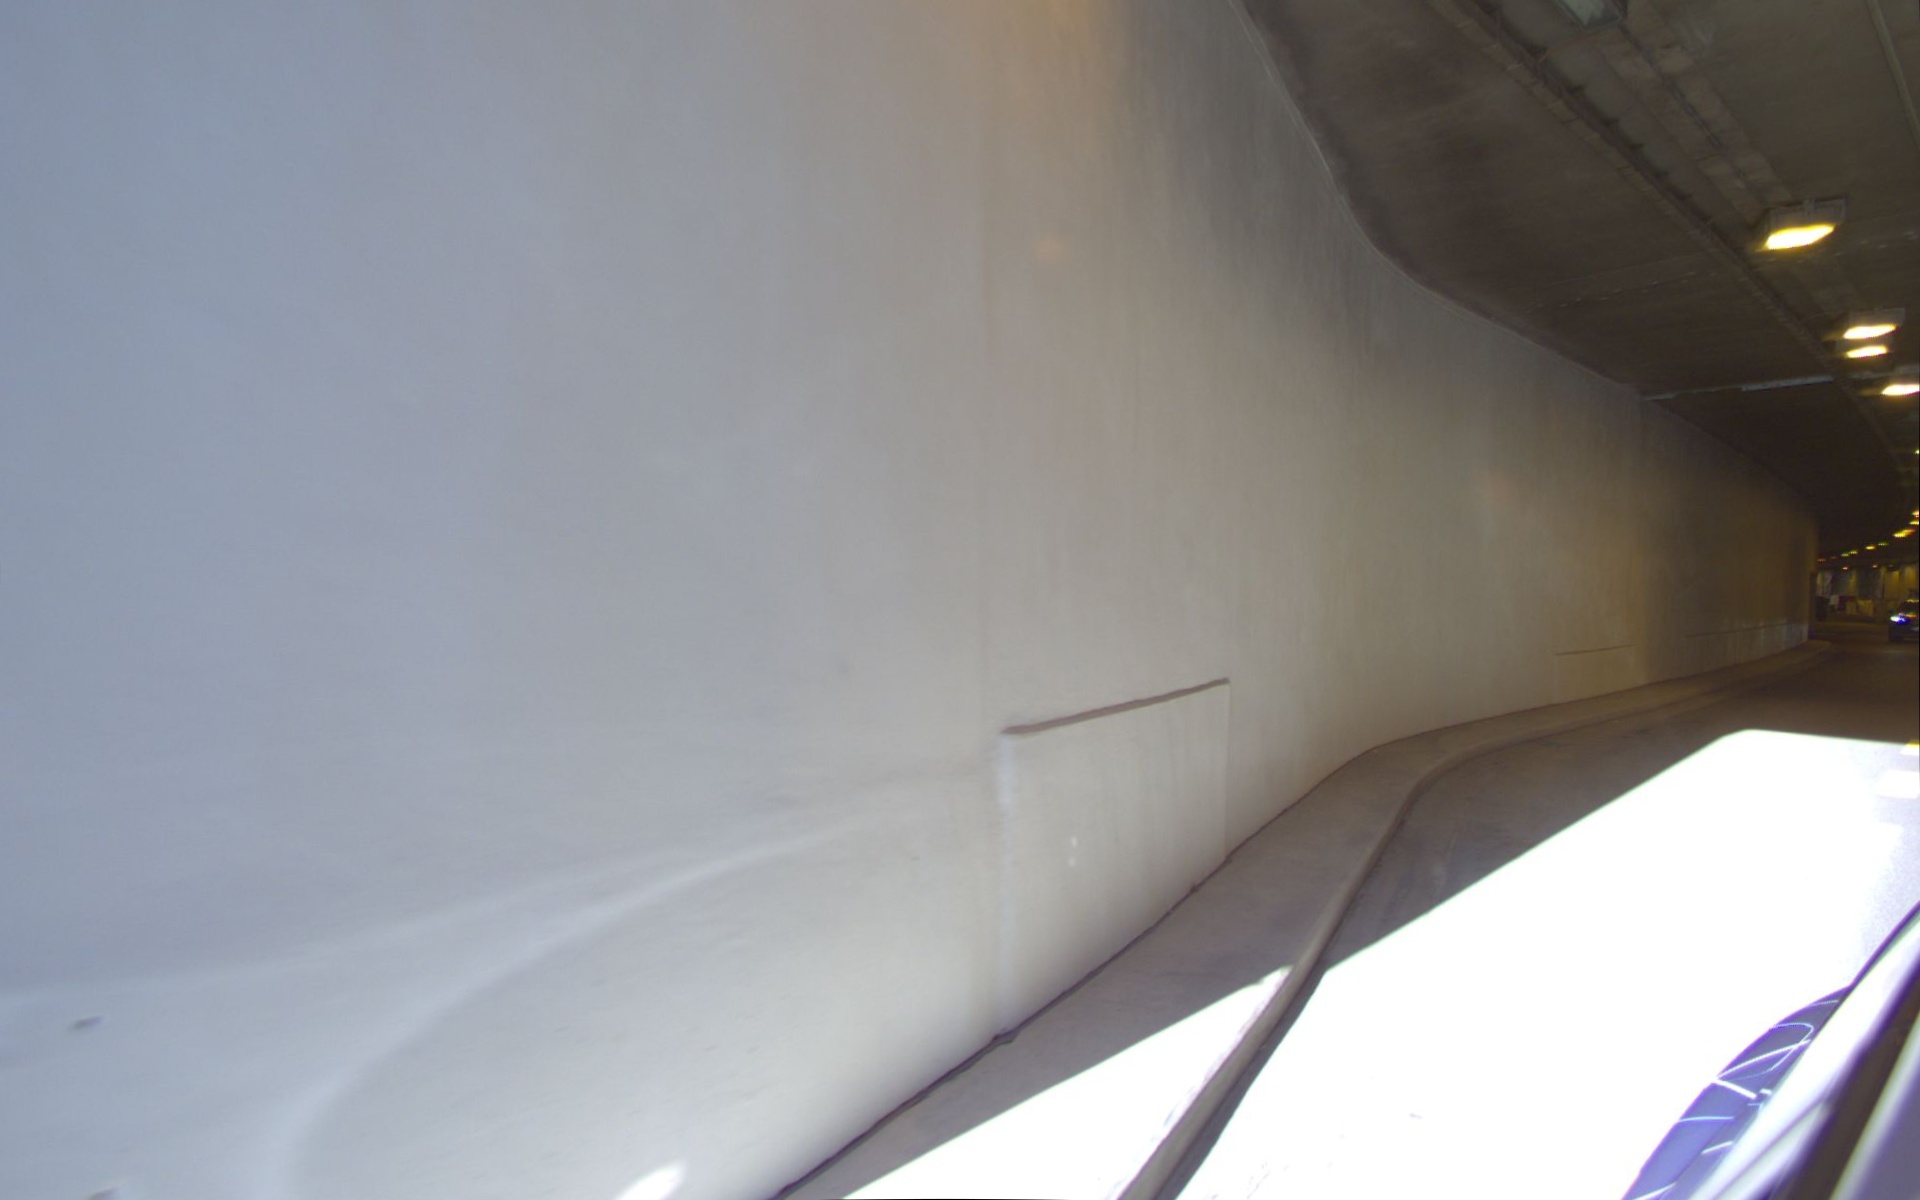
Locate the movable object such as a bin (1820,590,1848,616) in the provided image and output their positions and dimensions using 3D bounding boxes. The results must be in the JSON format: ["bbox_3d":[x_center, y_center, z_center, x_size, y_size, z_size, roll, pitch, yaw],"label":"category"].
[{"bbox_3d":[50.168,0.162,58.106,1.095,1.463,1.305,0,1,37],"label":"movable object such as a bin"}]

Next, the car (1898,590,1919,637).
[{"bbox_3d":[35.306,0.462,36.560,1.890,1.565,4.178,1,1,41],"label":"car"}]

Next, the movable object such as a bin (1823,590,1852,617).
[{"bbox_3d":[49.378,0.189,56.953,1.142,1.463,1.346,0,1,37],"label":"movable object such as a bin"}]

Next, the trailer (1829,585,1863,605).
[{"bbox_3d":[80.881,-0.473,92.416,1.629,1.813,3.093,0,1,27],"label":"trailer"}]
